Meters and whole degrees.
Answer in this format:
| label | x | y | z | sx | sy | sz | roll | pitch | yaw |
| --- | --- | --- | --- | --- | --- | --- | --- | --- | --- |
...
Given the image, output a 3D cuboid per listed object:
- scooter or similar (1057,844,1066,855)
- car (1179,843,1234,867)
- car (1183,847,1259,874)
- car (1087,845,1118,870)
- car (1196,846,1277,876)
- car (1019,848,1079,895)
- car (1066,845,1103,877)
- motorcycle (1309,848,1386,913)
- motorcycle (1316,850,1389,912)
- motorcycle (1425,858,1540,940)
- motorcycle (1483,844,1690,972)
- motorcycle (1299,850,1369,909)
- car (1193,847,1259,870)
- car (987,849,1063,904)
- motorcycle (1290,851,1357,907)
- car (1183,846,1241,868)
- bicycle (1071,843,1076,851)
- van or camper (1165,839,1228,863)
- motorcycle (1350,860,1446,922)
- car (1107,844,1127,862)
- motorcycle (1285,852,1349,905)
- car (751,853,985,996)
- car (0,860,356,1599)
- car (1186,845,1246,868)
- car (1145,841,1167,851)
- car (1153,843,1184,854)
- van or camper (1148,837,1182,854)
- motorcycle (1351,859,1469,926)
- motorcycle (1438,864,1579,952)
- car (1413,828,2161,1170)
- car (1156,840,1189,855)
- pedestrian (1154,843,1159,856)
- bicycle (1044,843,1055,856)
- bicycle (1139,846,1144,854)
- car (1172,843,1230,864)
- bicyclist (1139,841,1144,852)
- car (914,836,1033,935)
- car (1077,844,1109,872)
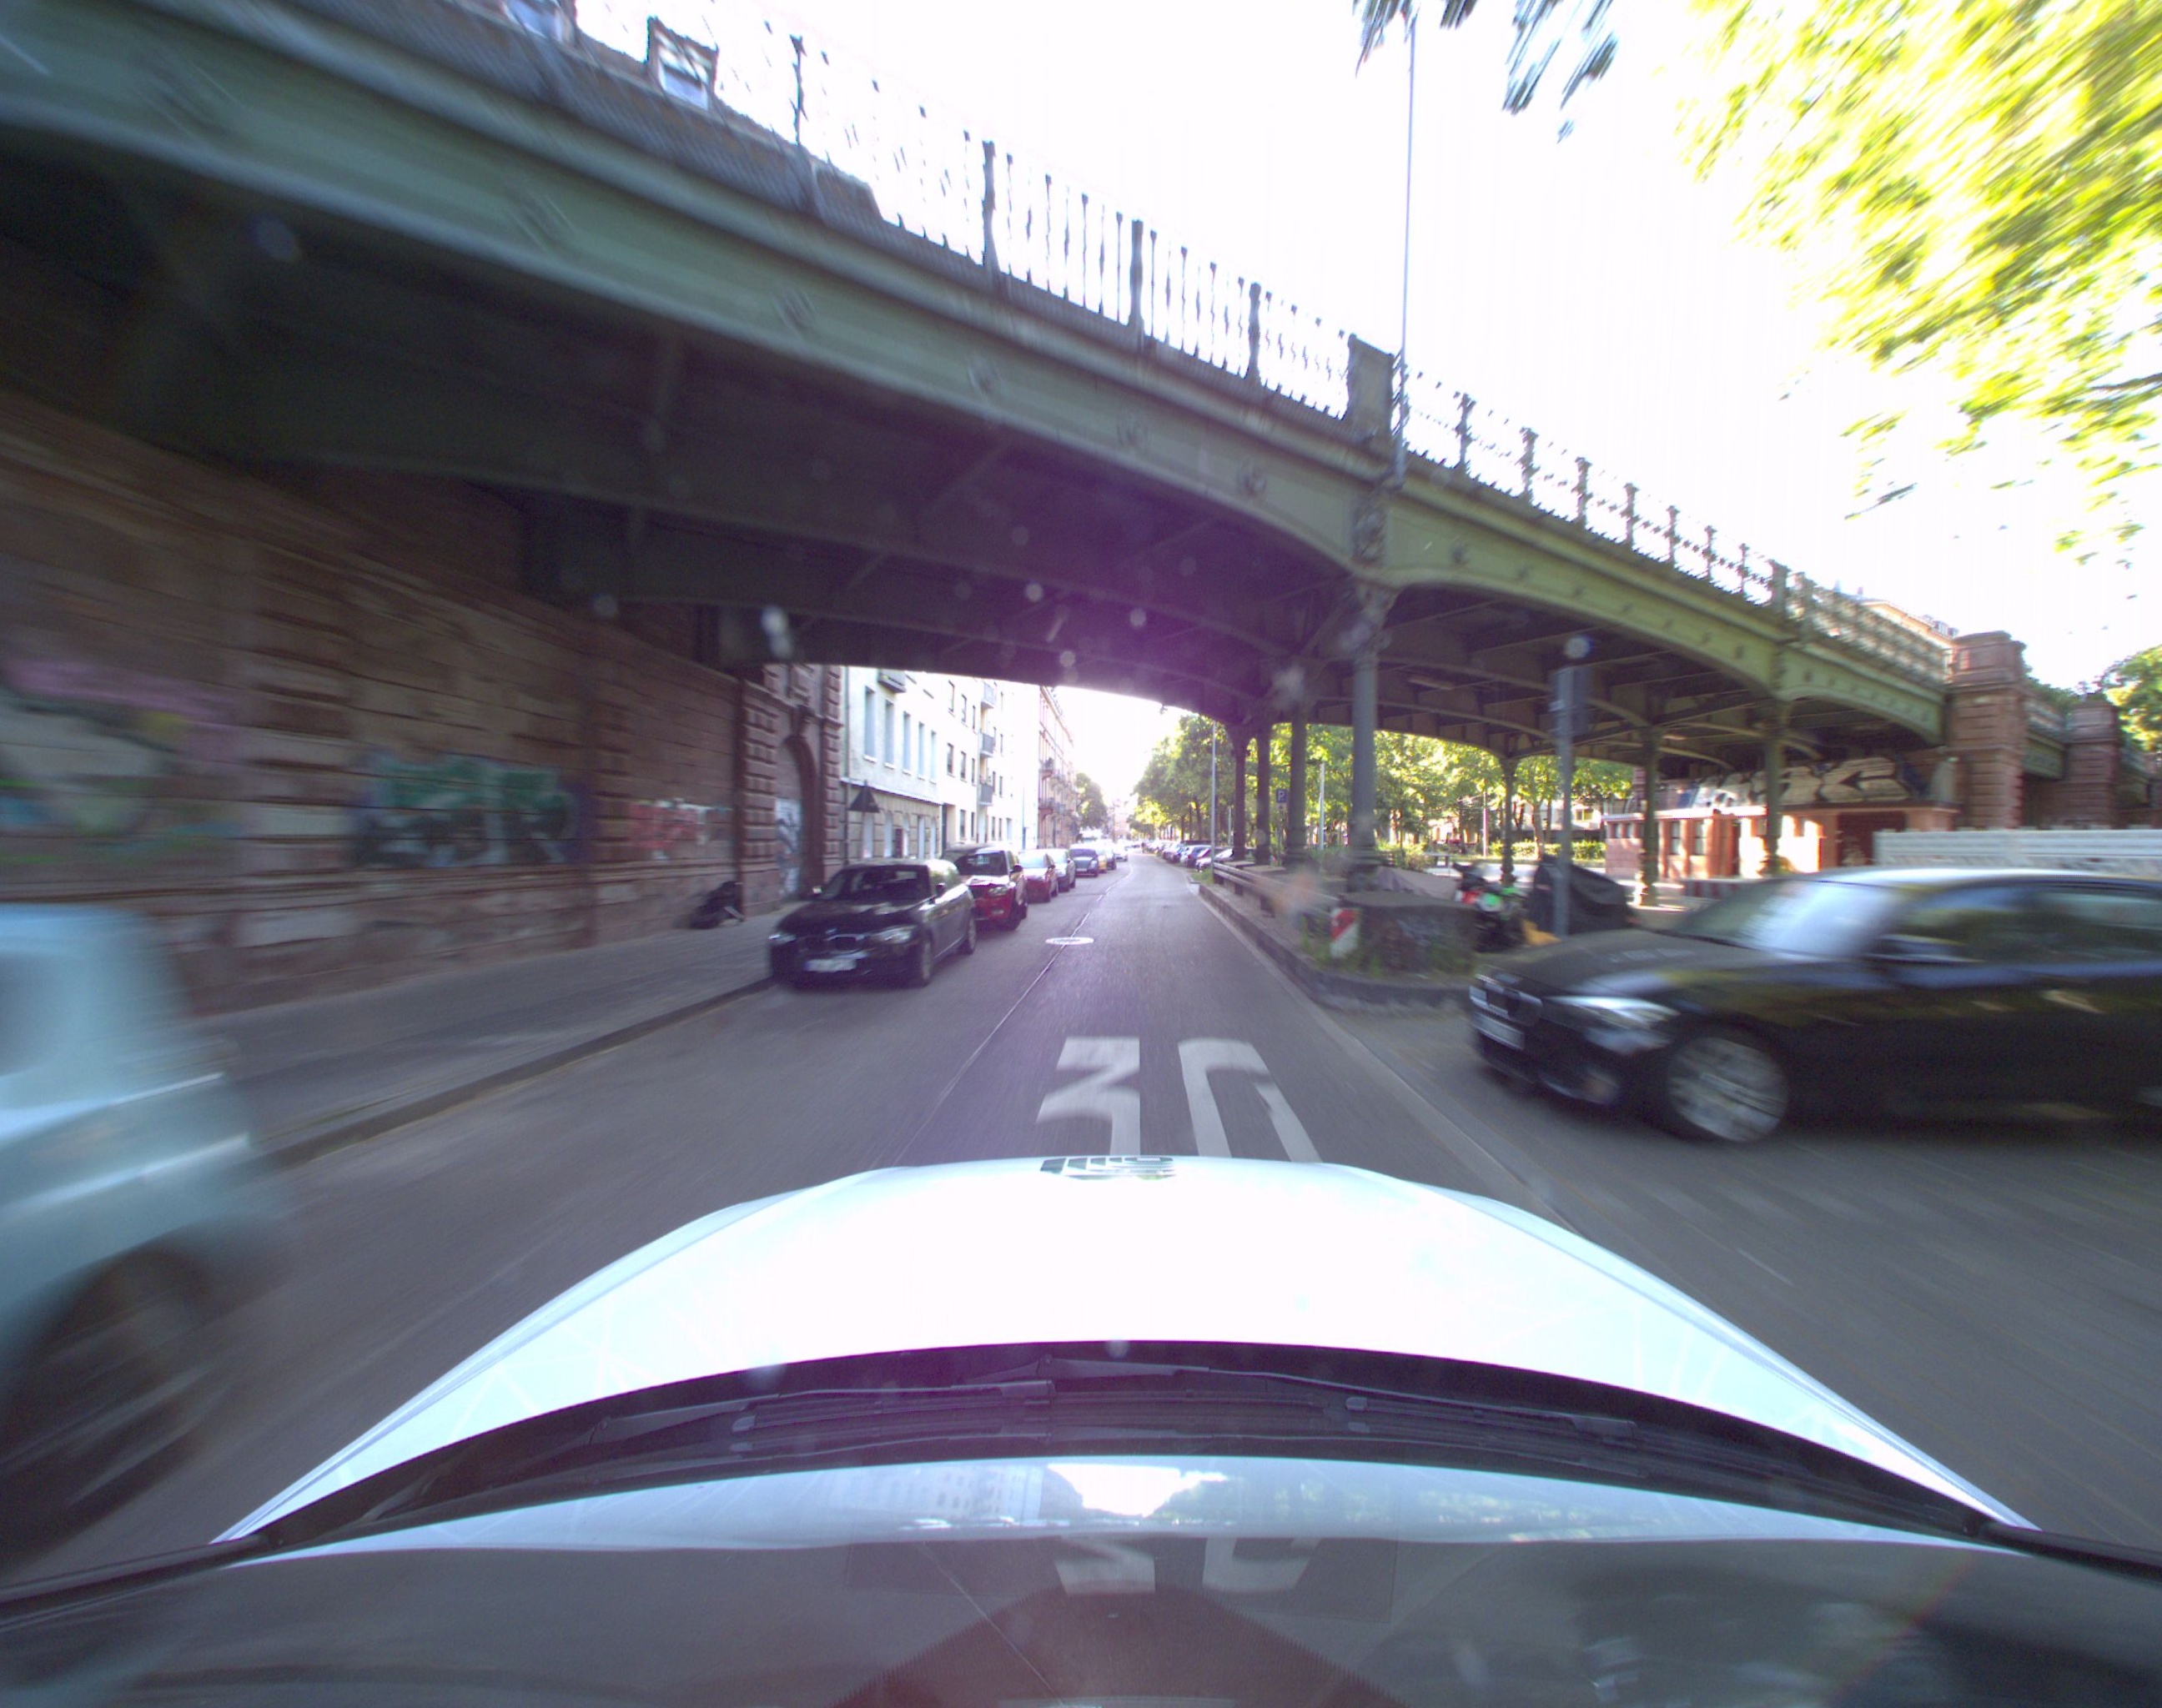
| label | x | y | z | sx | sy | sz | roll | pitch | yaw |
| --- | --- | --- | --- | --- | --- | --- | --- | --- | --- |
| scooter or similar | -2.372 | -0.520 | 97.870 | 0.780 | 1.222 | 2.706 | 2 | -1 | 3 |
| car | 8.969 | 0.065 | 58.204 | 3.765 | 1.646 | 1.666 | 0 | -1 | 3 |
| car | 7.309 | 0.355 | 42.846 | 3.765 | 1.401 | 1.829 | 0 | -1 | 4 |
| car | 1.393 | 0.165 | 50.807 | 1.731 | 1.479 | 4.005 | 0 | 1 | 5 |
| car | 7.757 | 0.344 | 40.817 | 3.771 | 1.472 | 1.634 | 0 | -1 | -1 |
| car | -1.063 | 0.561 | 28.930 | 1.629 | 1.466 | 4.004 | -2 | 0 | 4 |
| car | 0.228 | 0.329 | 40.754 | 1.559 | 1.517 | 3.787 | 0 | 1 | 5 |
| motorcycle | 6.120 | 0.603 | 18.705 | 1.586 | 1.408 | 0.716 | 1 | -1 | 23 |
| motorcycle | 6.528 | 0.627 | 19.598 | 1.586 | 1.408 | 0.716 | 1 | -1 | 23 |
| motorcycle | 5.956 | 0.652 | 12.054 | 1.731 | 1.132 | 0.705 | 2 | -1 | -31 |
| motorcycle | 5.386 | 0.557 | 8.686 | 1.937 | 1.238 | 0.898 | 2 | -1 | -22 |
| motorcycle | 6.434 | 0.637 | 20.706 | 1.586 | 1.408 | 0.716 | 1 | -1 | 23 |
| car | 8.953 | 0.266 | 50.343 | 3.771 | 1.401 | 1.766 | 0 | -1 | -1 |
| car | -1.553 | 0.594 | 23.935 | 1.682 | 1.441 | 4.004 | 0 | 0 | 4 |
| motorcycle | 6.430 | 0.648 | 21.576 | 1.586 | 1.408 | 0.716 | 1 | -1 | 23 |
| car | 8.900 | 0.188 | 55.566 | 3.763 | 1.473 | 1.667 | 0 | -1 | 5 |
| bicycle | -1.108 | -0.979 | 120.937 | 0.702 | 1.147 | 1.889 | 2 | -1 | 0 |
| van or camper | 9.993 | -0.293 | 70.839 | 5.387 | 2.027 | 2.033 | 0 | 1 | 5 |
| motorcycle | 6.098 | 0.702 | 15.687 | 1.602 | 1.132 | 0.709 | 2 | -1 | -14 |
| car | 3.262 | -0.089 | 73.786 | 1.661 | 1.430 | 4.005 | -2 | 2 | 4 |
| motorcycle | 6.546 | 0.664 | 22.585 | 1.586 | 1.408 | 0.716 | 1 | -1 | 23 |
| car | -2.463 | 0.738 | 10.492 | 1.709 | 1.464 | 4.004 | 0 | 0 | 4 |
| car | -3.085 | 0.799 | 0.582 | 1.589 | 1.547 | 3.915 | -1 | 0 | 1 |
| car | 8.696 | 0.152 | 52.705 | 3.760 | 1.447 | 1.668 | 0 | -1 | 8 |
| car | 14.343 | -1.478 | 155.610 | 3.974 | 1.794 | 1.859 | 2 | -1 | 0 |
| car | 12.112 | -0.728 | 112.819 | 4.197 | 1.453 | 1.652 | -1 | 1 | 7 |
| van or camper | 12.906 | -1.325 | 125.336 | 4.963 | 2.377 | 2.185 | 2 | -1 | 1 |
| motorcycle | 5.821 | 0.678 | 14.415 | 1.838 | 1.132 | 0.845 | 2 | -1 | -21 |
| motorcycle | 5.460 | 0.667 | 10.376 | 1.731 | 1.030 | 0.804 | 2 | -1 | -31 |
| car | 4.497 | 0.740 | 4.844 | 4.358 | 1.577 | 1.675 | 2 | -1 | 1 |
| car | 12.165 | -0.863 | 108.357 | 4.201 | 1.864 | 1.764 | -1 | 1 | 4 |
| pedestrian | 8.920 | -0.540 | 96.367 | 0.377 | 1.584 | 0.522 | 1 | 3 | 22 |
| bicycle | -3.114 | -0.426 | 79.851 | 0.733 | 1.206 | 2.517 | 2 | 2 | 4 |
| bicycle | 8.393 | -0.519 | 113.105 | 0.639 | 1.100 | 1.945 | 2 | -1 | 2 |
| car | 9.235 | 0.006 | 62.927 | 4.374 | 1.577 | 1.668 | 0 | -1 | 8 |
| bicyclist | 8.425 | -1.064 | 113.258 | 0.625 | 1.573 | 0.802 | 2 | -1 | 2 |
| car | -2.004 | 0.540 | 16.401 | 1.710 | 1.708 | 4.324 | 0 | 0 | 1 |
| car | 0.704 | 0.197 | 45.960 | 1.695 | 1.525 | 3.776 | 0 | 1 | 3 |
